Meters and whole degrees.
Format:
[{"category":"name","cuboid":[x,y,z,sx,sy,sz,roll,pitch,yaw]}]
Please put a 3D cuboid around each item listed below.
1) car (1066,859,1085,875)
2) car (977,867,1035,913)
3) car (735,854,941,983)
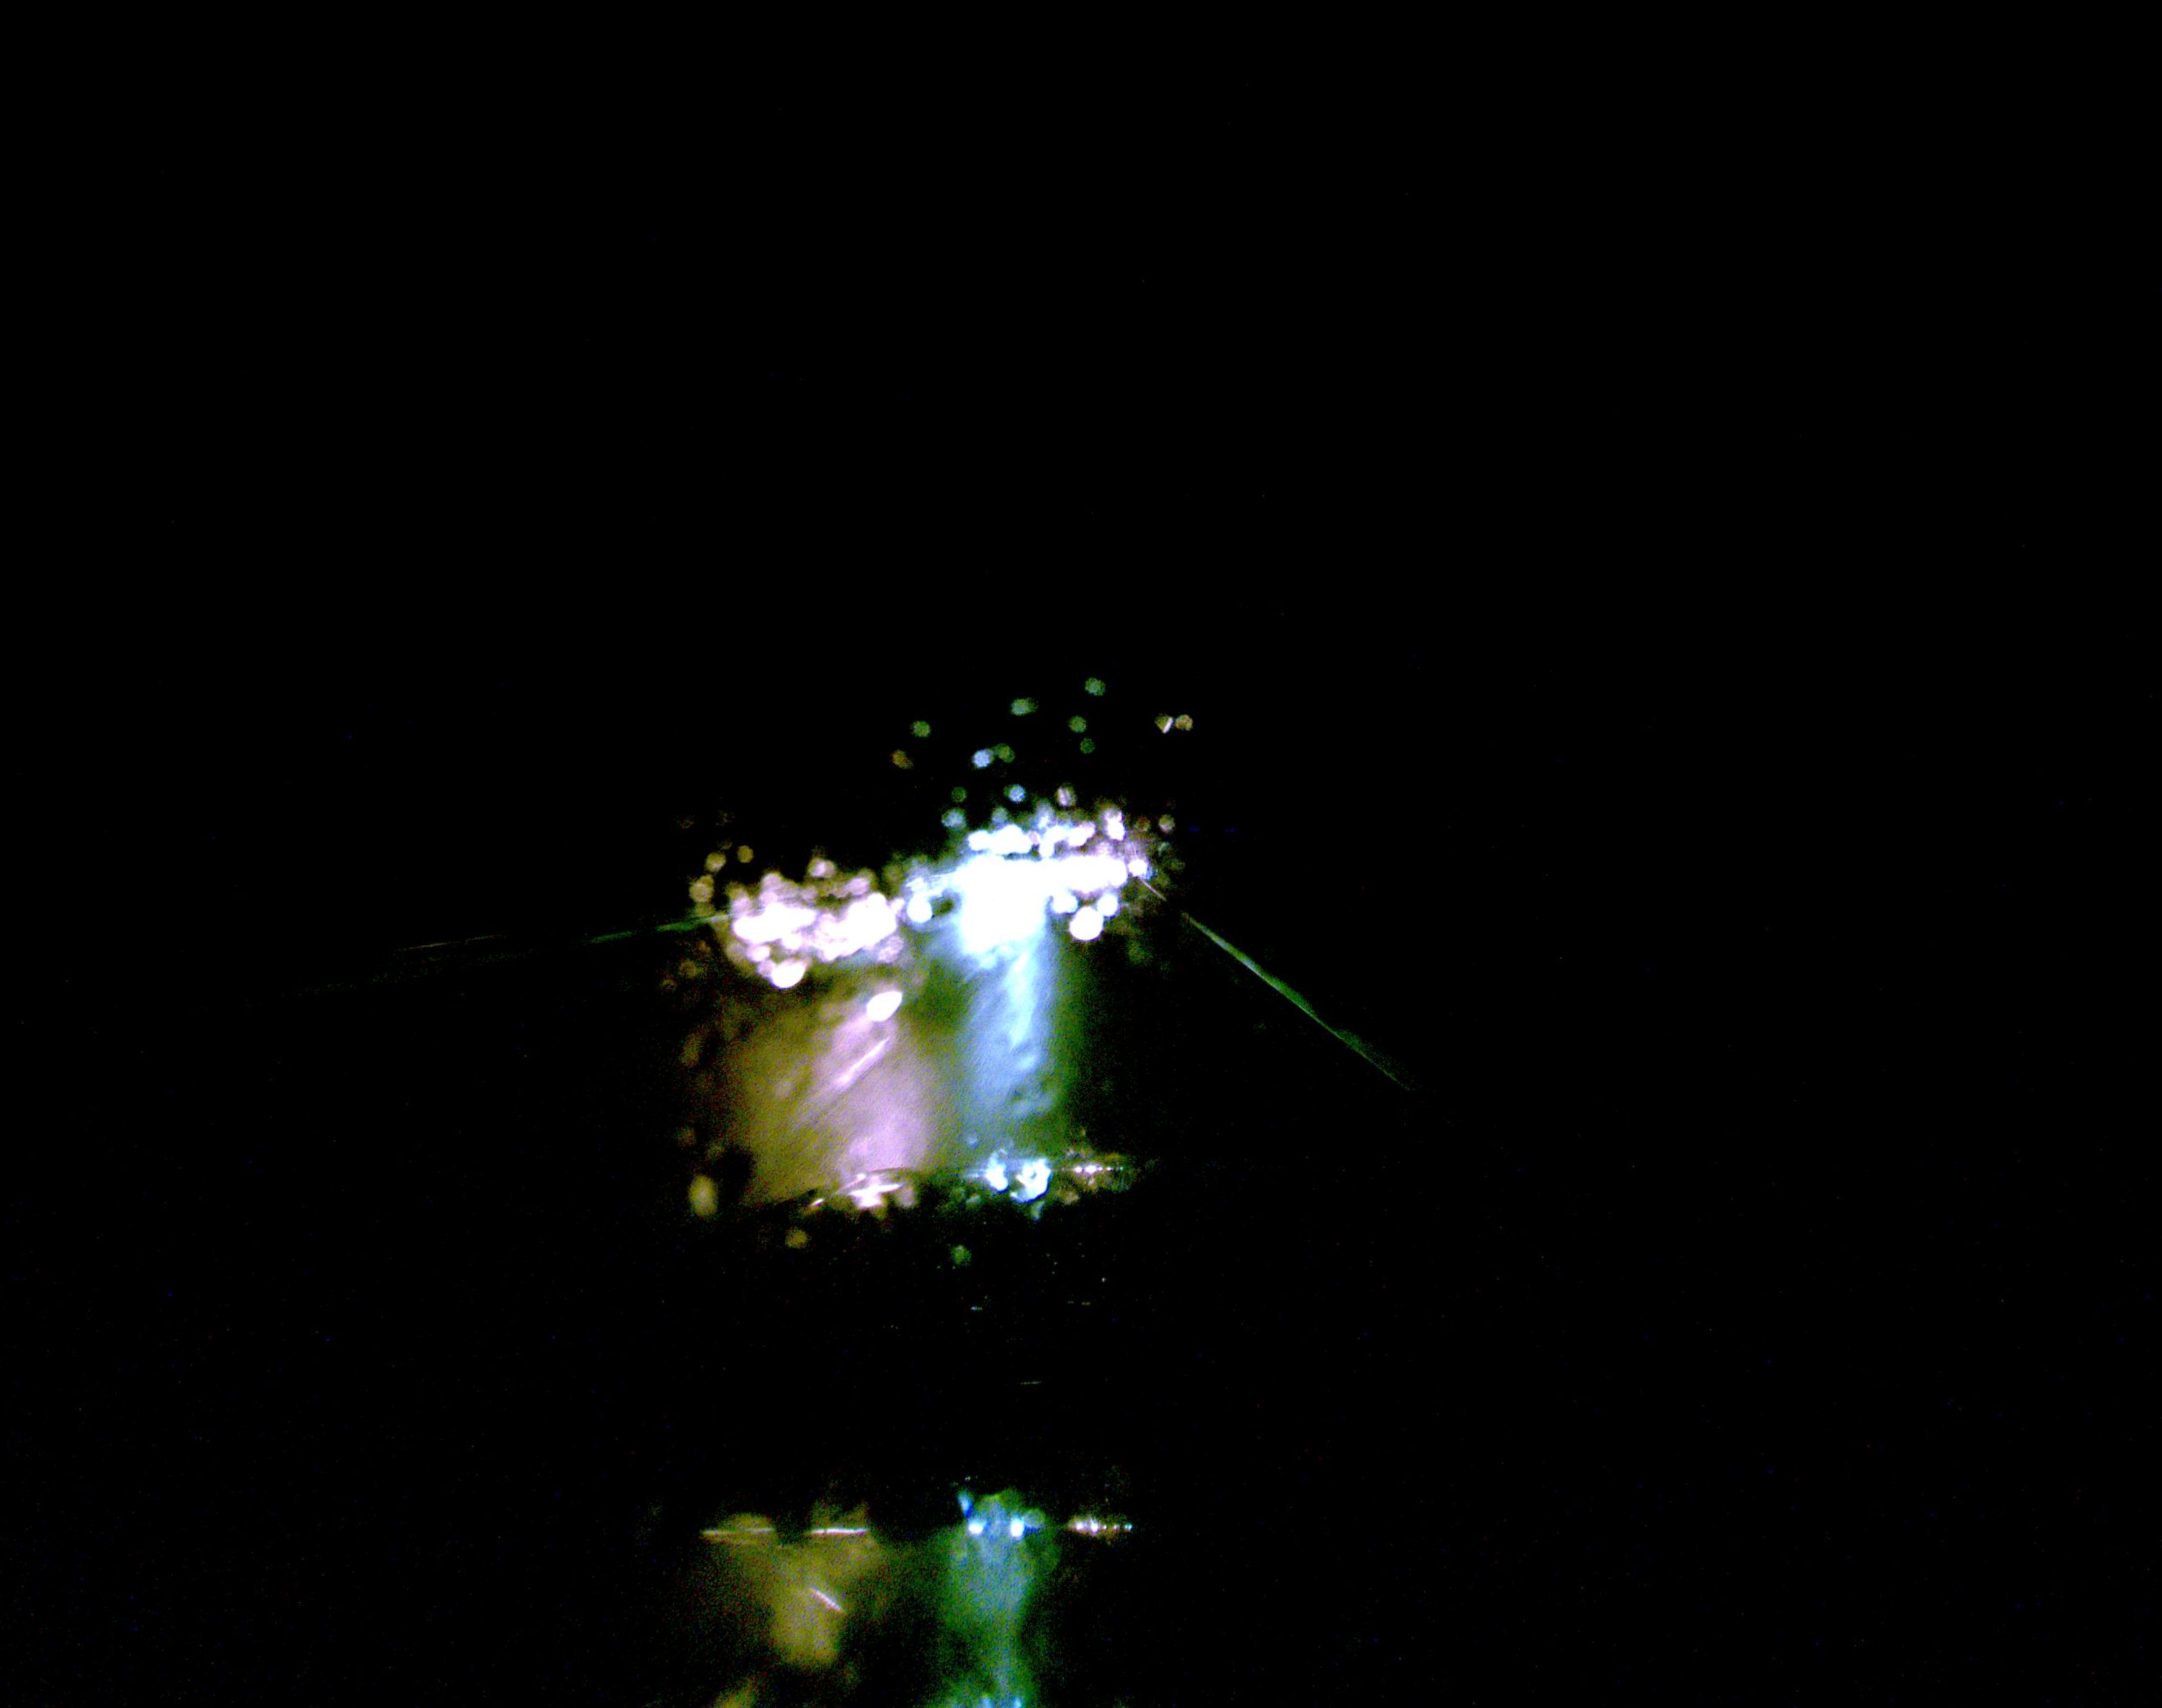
[{"category":"car","cuboid":[-0.539,1.253,79.882,1.710,1.517,3.879,-2,0,2]},{"category":"car","cuboid":[-2.583,1.209,28.815,1.639,1.425,4.123,1,0,0]},{"category":"car","cuboid":[-3.119,0.747,11.220,1.639,1.425,3.659,-2,0,1]}]
